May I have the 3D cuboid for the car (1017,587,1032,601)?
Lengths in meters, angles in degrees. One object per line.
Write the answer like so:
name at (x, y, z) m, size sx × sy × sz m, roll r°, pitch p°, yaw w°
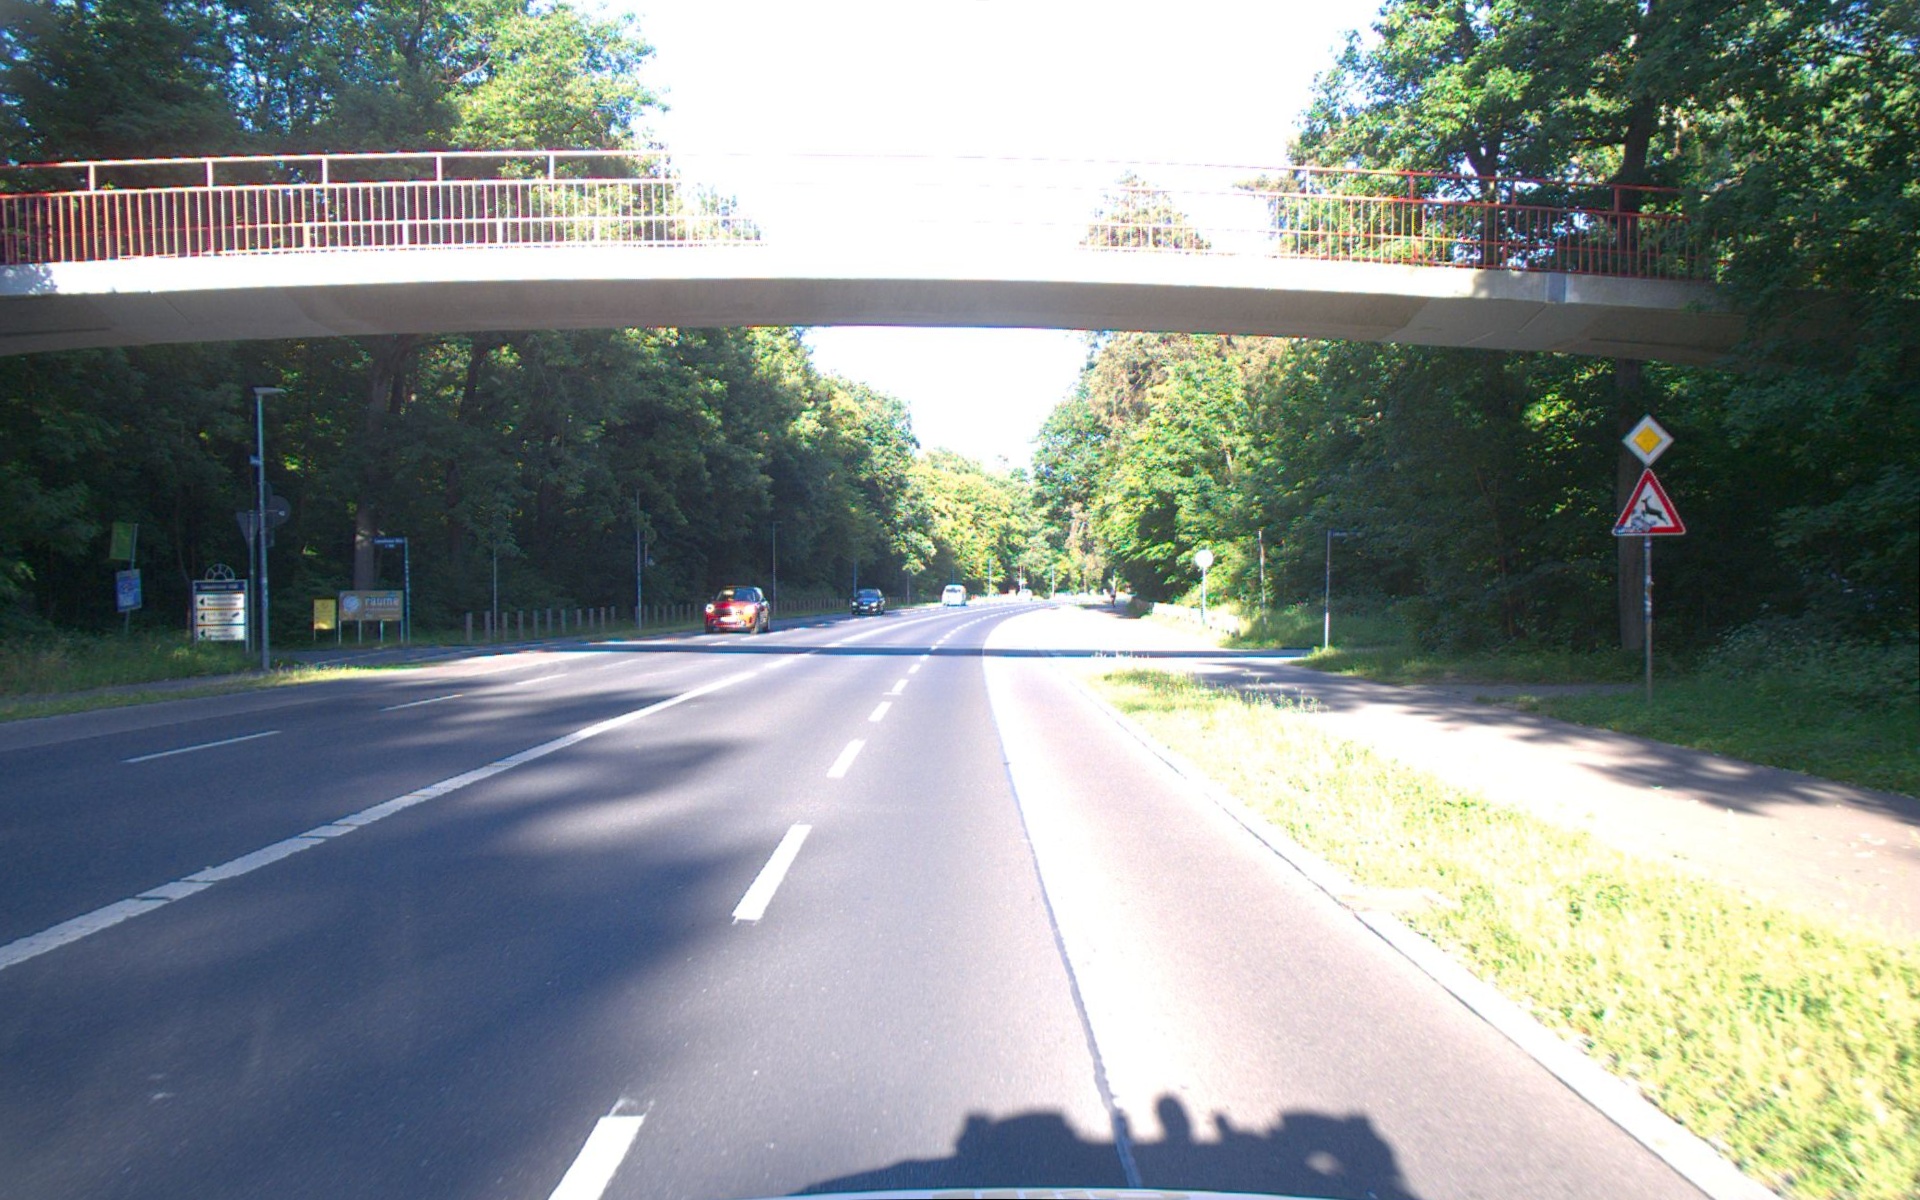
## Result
car at (8.676, -0.812, 221.355) m, size 1.746 × 1.739 × 4.003 m, roll 0°, pitch 0°, yaw 6°

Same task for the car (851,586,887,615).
car at (-5.328, 0.016, 97.405) m, size 1.687 × 1.601 × 4.178 m, roll 2°, pitch 1°, yaw 2°

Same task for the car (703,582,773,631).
car at (-7.611, 0.197, 56.941) m, size 1.725 × 1.610 × 4.169 m, roll 1°, pitch 0°, yaw 1°

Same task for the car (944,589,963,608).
car at (-0.549, -0.161, 149.822) m, size 1.670 × 1.739 × 4.000 m, roll 0°, pitch 0°, yaw 1°
